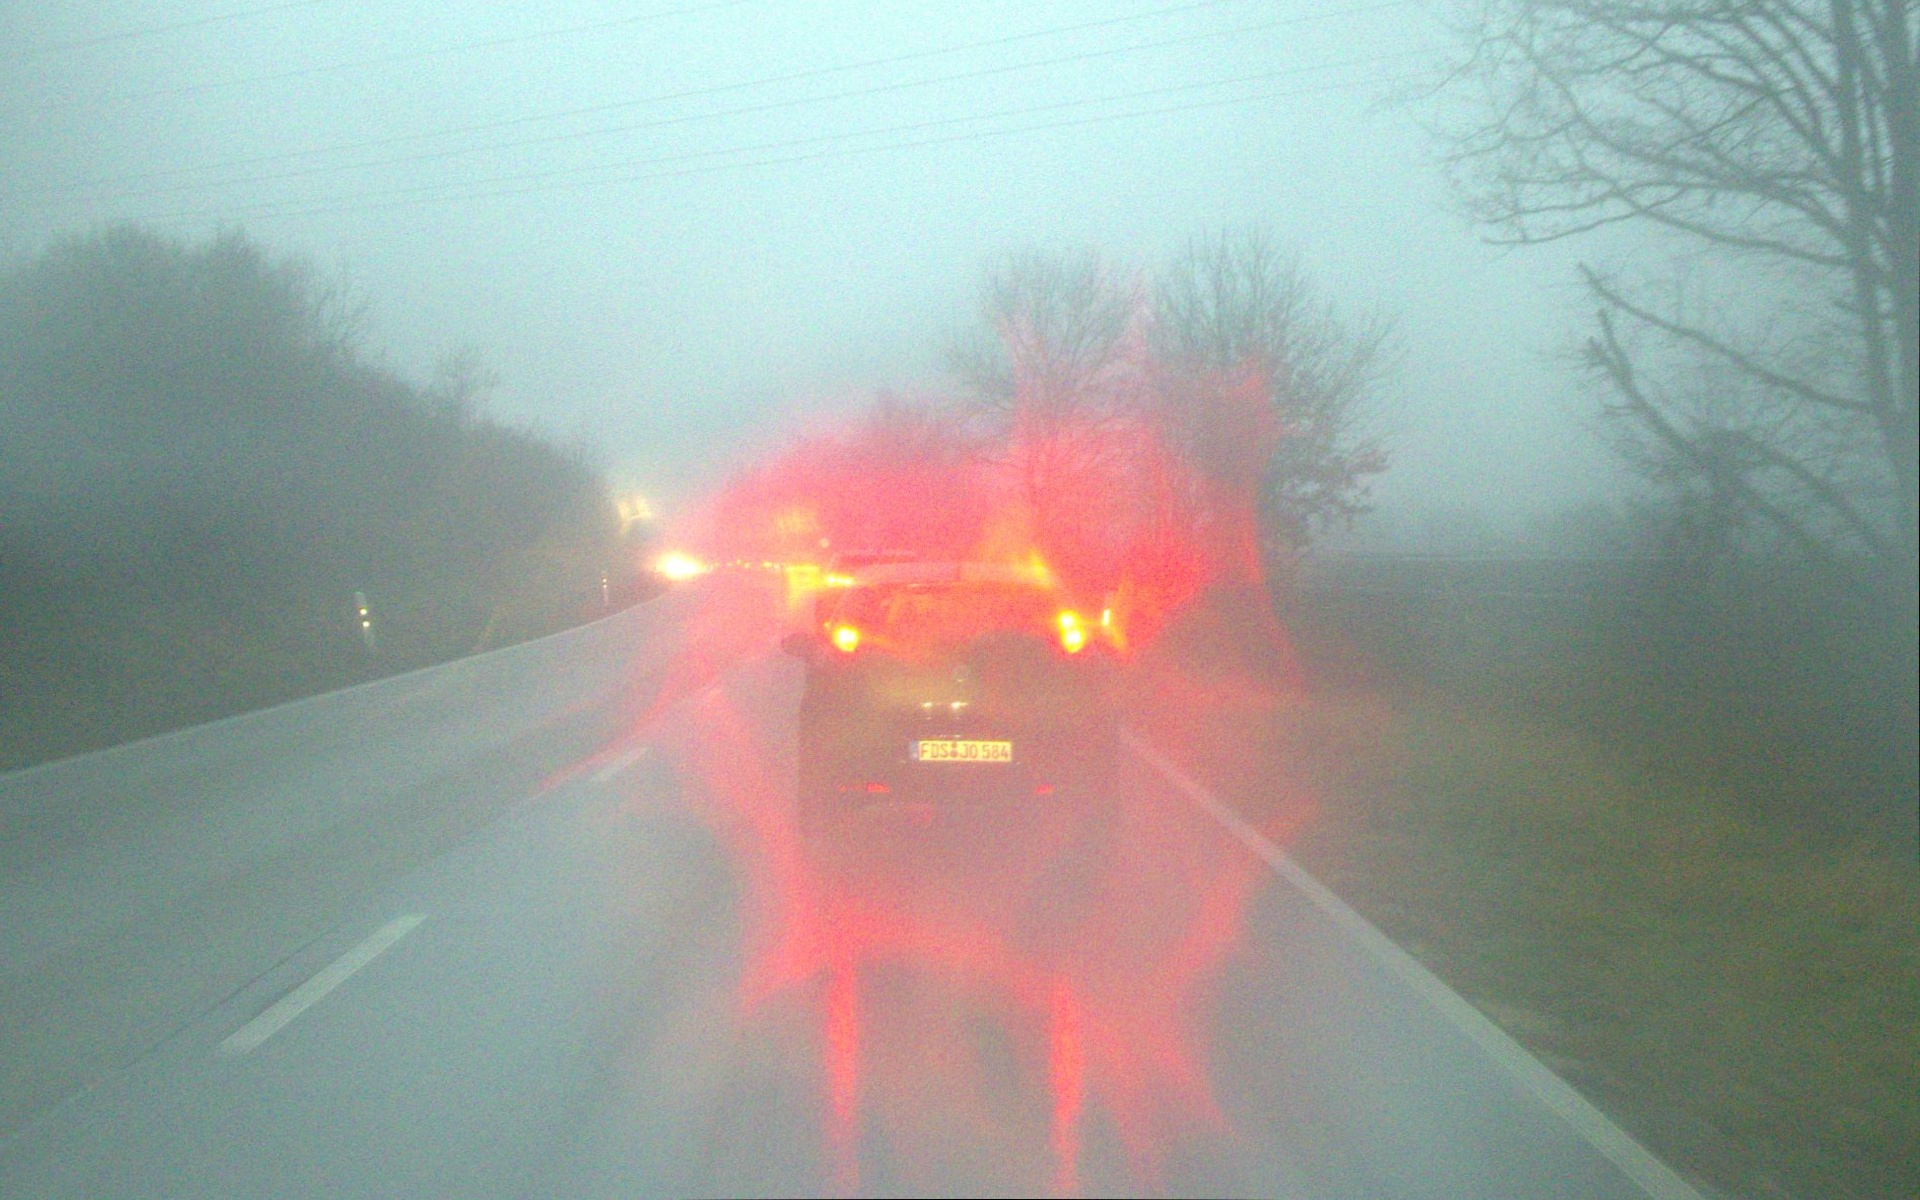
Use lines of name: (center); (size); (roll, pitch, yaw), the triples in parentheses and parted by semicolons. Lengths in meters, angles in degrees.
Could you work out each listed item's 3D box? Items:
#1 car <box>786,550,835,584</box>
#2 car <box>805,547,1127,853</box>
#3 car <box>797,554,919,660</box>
car: (-6.175, -1.382, 142.495); (1.547, 1.392, 3.869); (1, 1, 5)
car: (0.020, 0.474, 19.212); (1.602, 1.517, 3.869); (1, 1, 0)
car: (-1.385, 0.068, 47.806); (1.547, 1.392, 3.869); (1, 1, 0)
